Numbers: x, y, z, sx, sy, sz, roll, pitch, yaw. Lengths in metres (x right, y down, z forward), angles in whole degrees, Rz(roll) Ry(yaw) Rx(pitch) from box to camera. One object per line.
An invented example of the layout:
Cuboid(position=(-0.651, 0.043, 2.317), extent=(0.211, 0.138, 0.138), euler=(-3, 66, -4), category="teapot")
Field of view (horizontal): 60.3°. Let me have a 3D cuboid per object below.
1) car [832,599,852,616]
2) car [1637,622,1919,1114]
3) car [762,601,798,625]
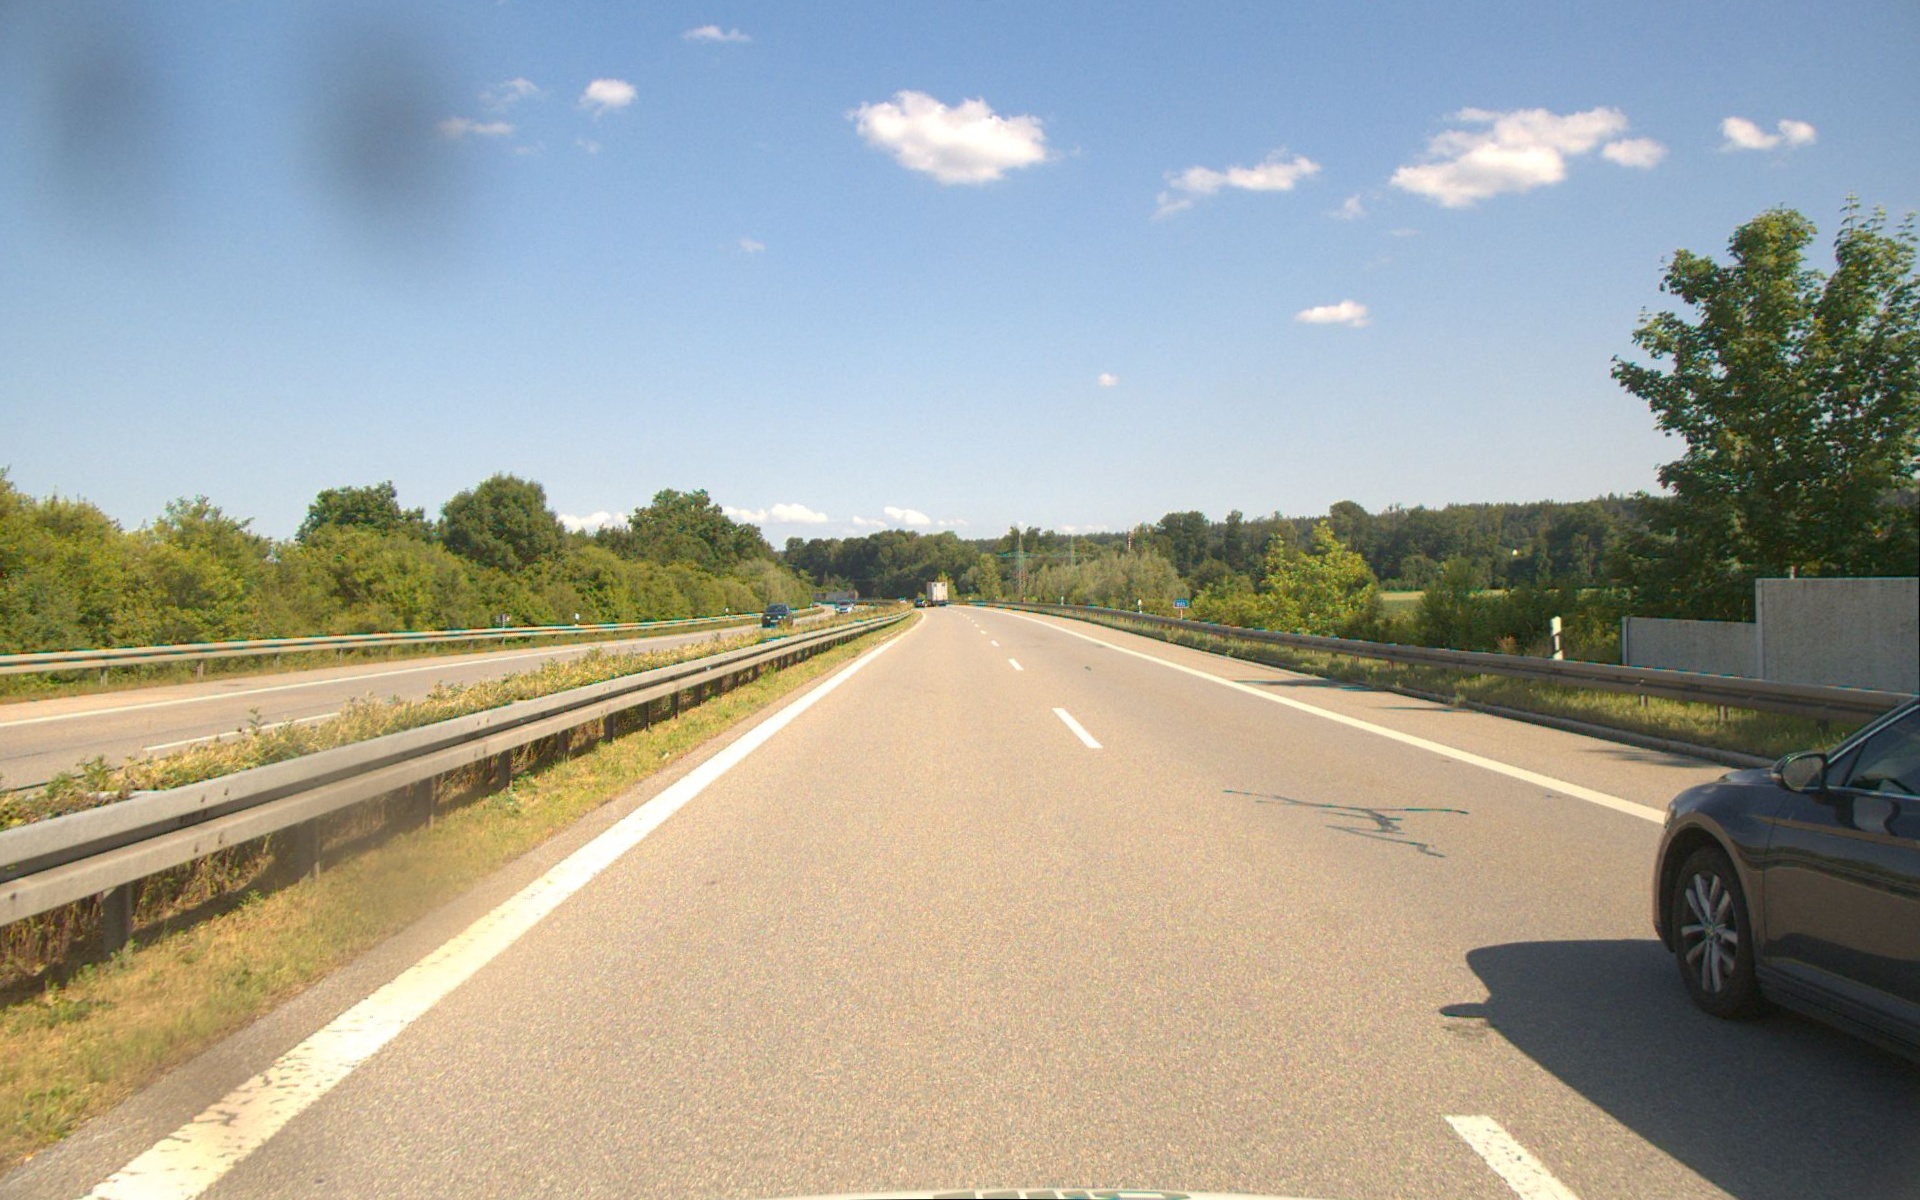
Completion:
Cuboid(position=(-12.362, 0.797, 173.815), extent=(1.871, 1.616, 4.914), euler=(-3, 0, -3), category="car")
Cuboid(position=(3.670, 0.808, 4.616), extent=(1.684, 1.424, 4.412), euler=(1, 0, -1), category="car")
Cuboid(position=(-11.616, 0.835, 106.722), extent=(1.703, 1.470, 4.768), euler=(-2, 0, 1), category="car")
